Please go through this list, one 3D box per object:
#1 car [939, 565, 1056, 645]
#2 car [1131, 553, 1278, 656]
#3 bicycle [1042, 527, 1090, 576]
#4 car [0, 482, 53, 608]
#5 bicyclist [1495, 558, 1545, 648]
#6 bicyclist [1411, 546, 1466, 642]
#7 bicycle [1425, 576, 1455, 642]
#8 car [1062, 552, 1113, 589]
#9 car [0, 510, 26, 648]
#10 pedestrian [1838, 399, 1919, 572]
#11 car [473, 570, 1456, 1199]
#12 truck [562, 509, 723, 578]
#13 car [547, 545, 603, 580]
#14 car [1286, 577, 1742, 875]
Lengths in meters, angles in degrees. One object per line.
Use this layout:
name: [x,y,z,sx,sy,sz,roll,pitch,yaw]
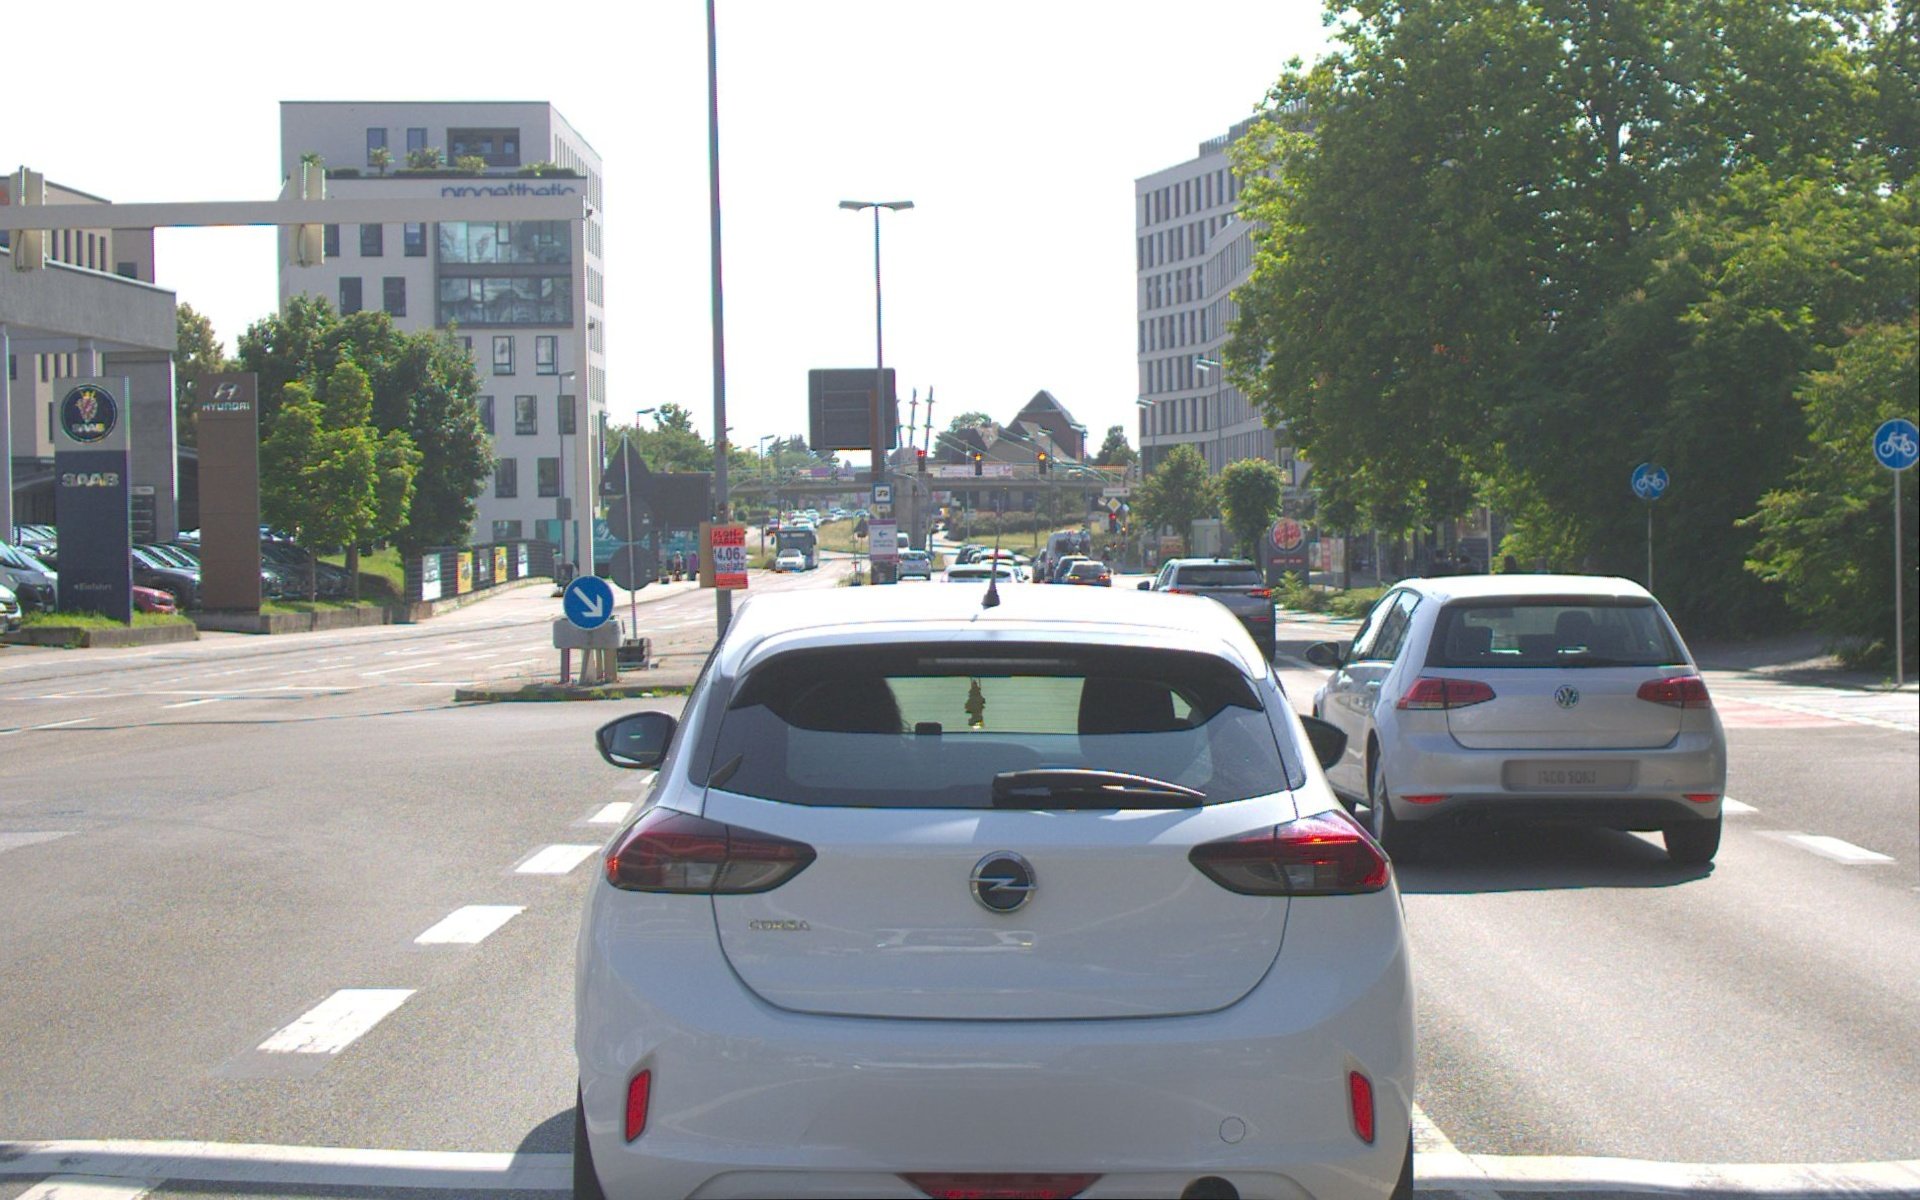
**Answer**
car: [0.666,0.066,64.363,1.993,1.442,4.371,0,0,-2]
car: [3.829,0.041,54.515,1.993,1.546,4.434,-1,1,0]
bicycle: [4.743,-2.174,154.506,1.993,2.150,4.000,-1,1,0]
car: [-21.565,-1.137,72.297,4.357,2.592,2.000,-1,1,6]
bicyclist: [10.286,0.053,63.131,0.688,1.637,0.777,-1,1,-8]
bicyclist: [8.876,-0.120,63.798,0.879,1.766,0.864,-1,1,0]
bicycle: [8.905,0.161,63.814,0.372,1.212,1.154,1,0,0]
car: [4.969,-1.155,134.150,1.806,1.381,4.000,1,0,0]
car: [-20.790,-0.383,66.981,4.498,2.675,2.127,0,1,9]
pedestrian: [11.023,-1.345,40.577,1.027,2.007,1.038,-1,1,0]
car: [0.009,0.689,8.265,1.779,1.489,4.000,-1,1,0]
truck: [-18.355,-3.242,198.392,9.058,3.821,3.082,-1,1,-9]
car: [-15.814,-1.523,141.321,1.806,1.381,4.000,1,0,0]
car: [2.873,0.602,18.656,1.807,1.424,4.000,-1,0,0]
